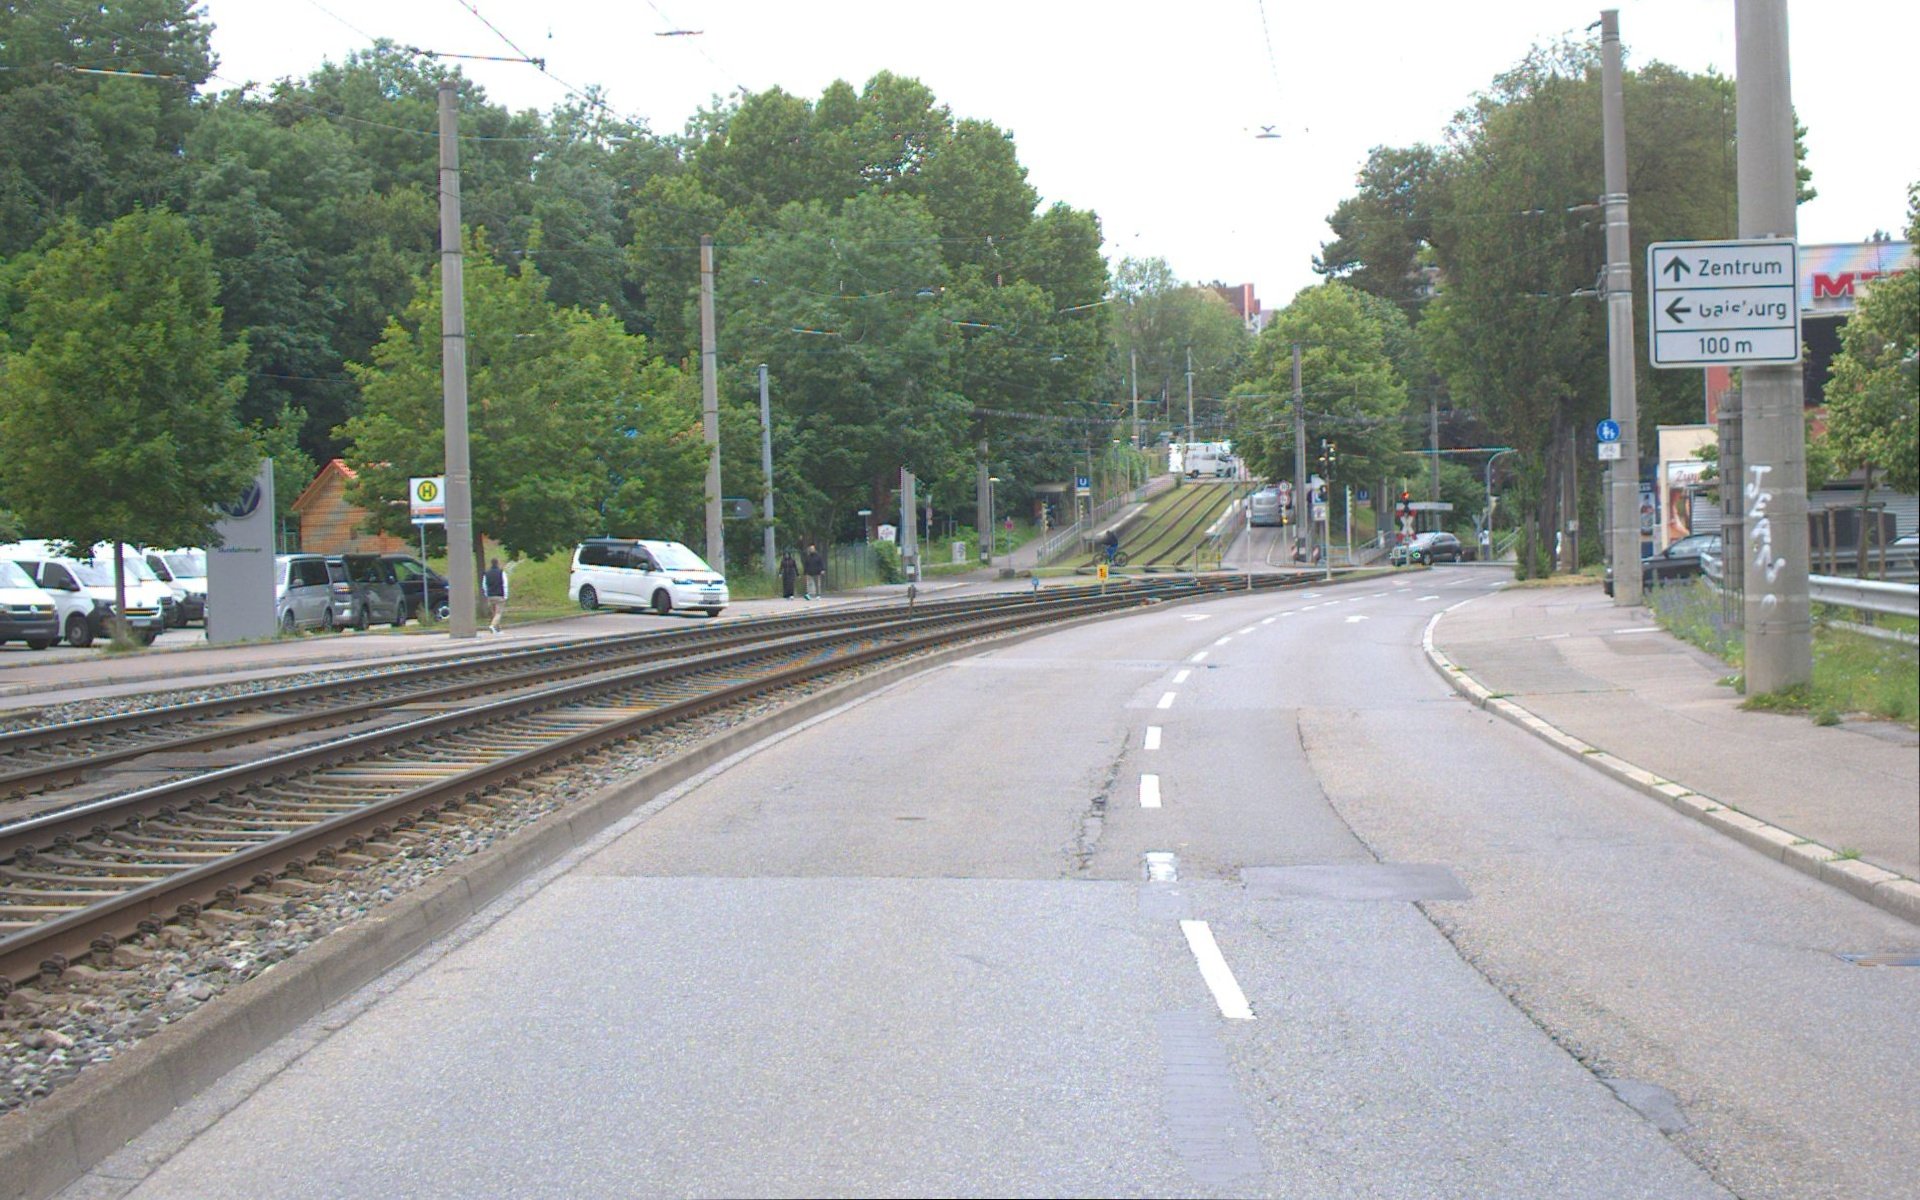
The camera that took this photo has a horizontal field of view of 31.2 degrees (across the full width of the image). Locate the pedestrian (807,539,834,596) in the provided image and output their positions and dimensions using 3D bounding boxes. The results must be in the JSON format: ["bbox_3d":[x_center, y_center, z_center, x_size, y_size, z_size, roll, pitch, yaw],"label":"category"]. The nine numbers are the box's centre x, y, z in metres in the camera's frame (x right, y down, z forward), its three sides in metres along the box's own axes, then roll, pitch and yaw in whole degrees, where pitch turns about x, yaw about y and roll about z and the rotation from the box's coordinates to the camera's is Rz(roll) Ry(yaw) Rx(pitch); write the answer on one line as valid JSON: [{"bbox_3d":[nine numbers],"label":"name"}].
[{"bbox_3d":[-4.486,-1.035,110.424,0.677,1.807,0.855,1,2,11],"label":"pedestrian"}]

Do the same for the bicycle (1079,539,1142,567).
[{"bbox_3d":[7.499,-2.348,171.546,2.988,1.339,0.826,-1,1,13],"label":"bicycle"}]

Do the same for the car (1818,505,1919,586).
[{"bbox_3d":[19.997,-1.148,69.709,4.505,1.543,2.161,-2,0,-16],"label":"car"}]

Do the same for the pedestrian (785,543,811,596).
[{"bbox_3d":[-5.207,-0.986,110.572,0.628,1.707,0.855,1,2,11],"label":"pedestrian"}]

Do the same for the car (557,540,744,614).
[{"bbox_3d":[-8.355,-0.637,92.602,5.069,1.881,2.161,2,2,43],"label":"car"}]

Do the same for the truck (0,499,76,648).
[{"bbox_3d":[-21.737,-0.545,73.707,5.932,3.074,2.115,0,1,38],"label":"truck"}]

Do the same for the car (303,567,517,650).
[{"bbox_3d":[-14.431,0.201,90.273,5.055,2.007,2.167,-2,1,-28],"label":"car"}]

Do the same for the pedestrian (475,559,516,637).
[{"bbox_3d":[-10.214,-0.050,75.552,0.718,1.650,1.042,1,2,1],"label":"pedestrian"}]

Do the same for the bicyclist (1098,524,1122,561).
[{"bbox_3d":[7.470,-2.867,171.545,1.049,1.843,0.823,-1,1,12],"label":"bicyclist"}]

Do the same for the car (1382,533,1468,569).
[{"bbox_3d":[21.693,-2.281,160.323,1.691,1.527,4.245,-5,-2,45],"label":"car"}]

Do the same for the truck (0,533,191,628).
[{"bbox_3d":[-24.813,-0.549,97.557,5.770,2.579,2.464,-1,1,33],"label":"truck"}]

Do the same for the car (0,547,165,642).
[{"bbox_3d":[-19.903,-0.111,75.740,4.725,2.007,1.996,-1,1,36],"label":"car"}]

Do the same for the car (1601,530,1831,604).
[{"bbox_3d":[15.473,-0.676,70.450,4.229,1.438,1.759,0,2,37],"label":"car"}]

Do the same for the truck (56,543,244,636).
[{"bbox_3d":[-23.639,-0.296,100.270,5.065,2.579,2.464,-1,1,33],"label":"truck"}]

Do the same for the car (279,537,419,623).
[{"bbox_3d":[-15.172,-0.524,85.611,1.994,2.007,5.129,-1,1,7],"label":"car"}]
